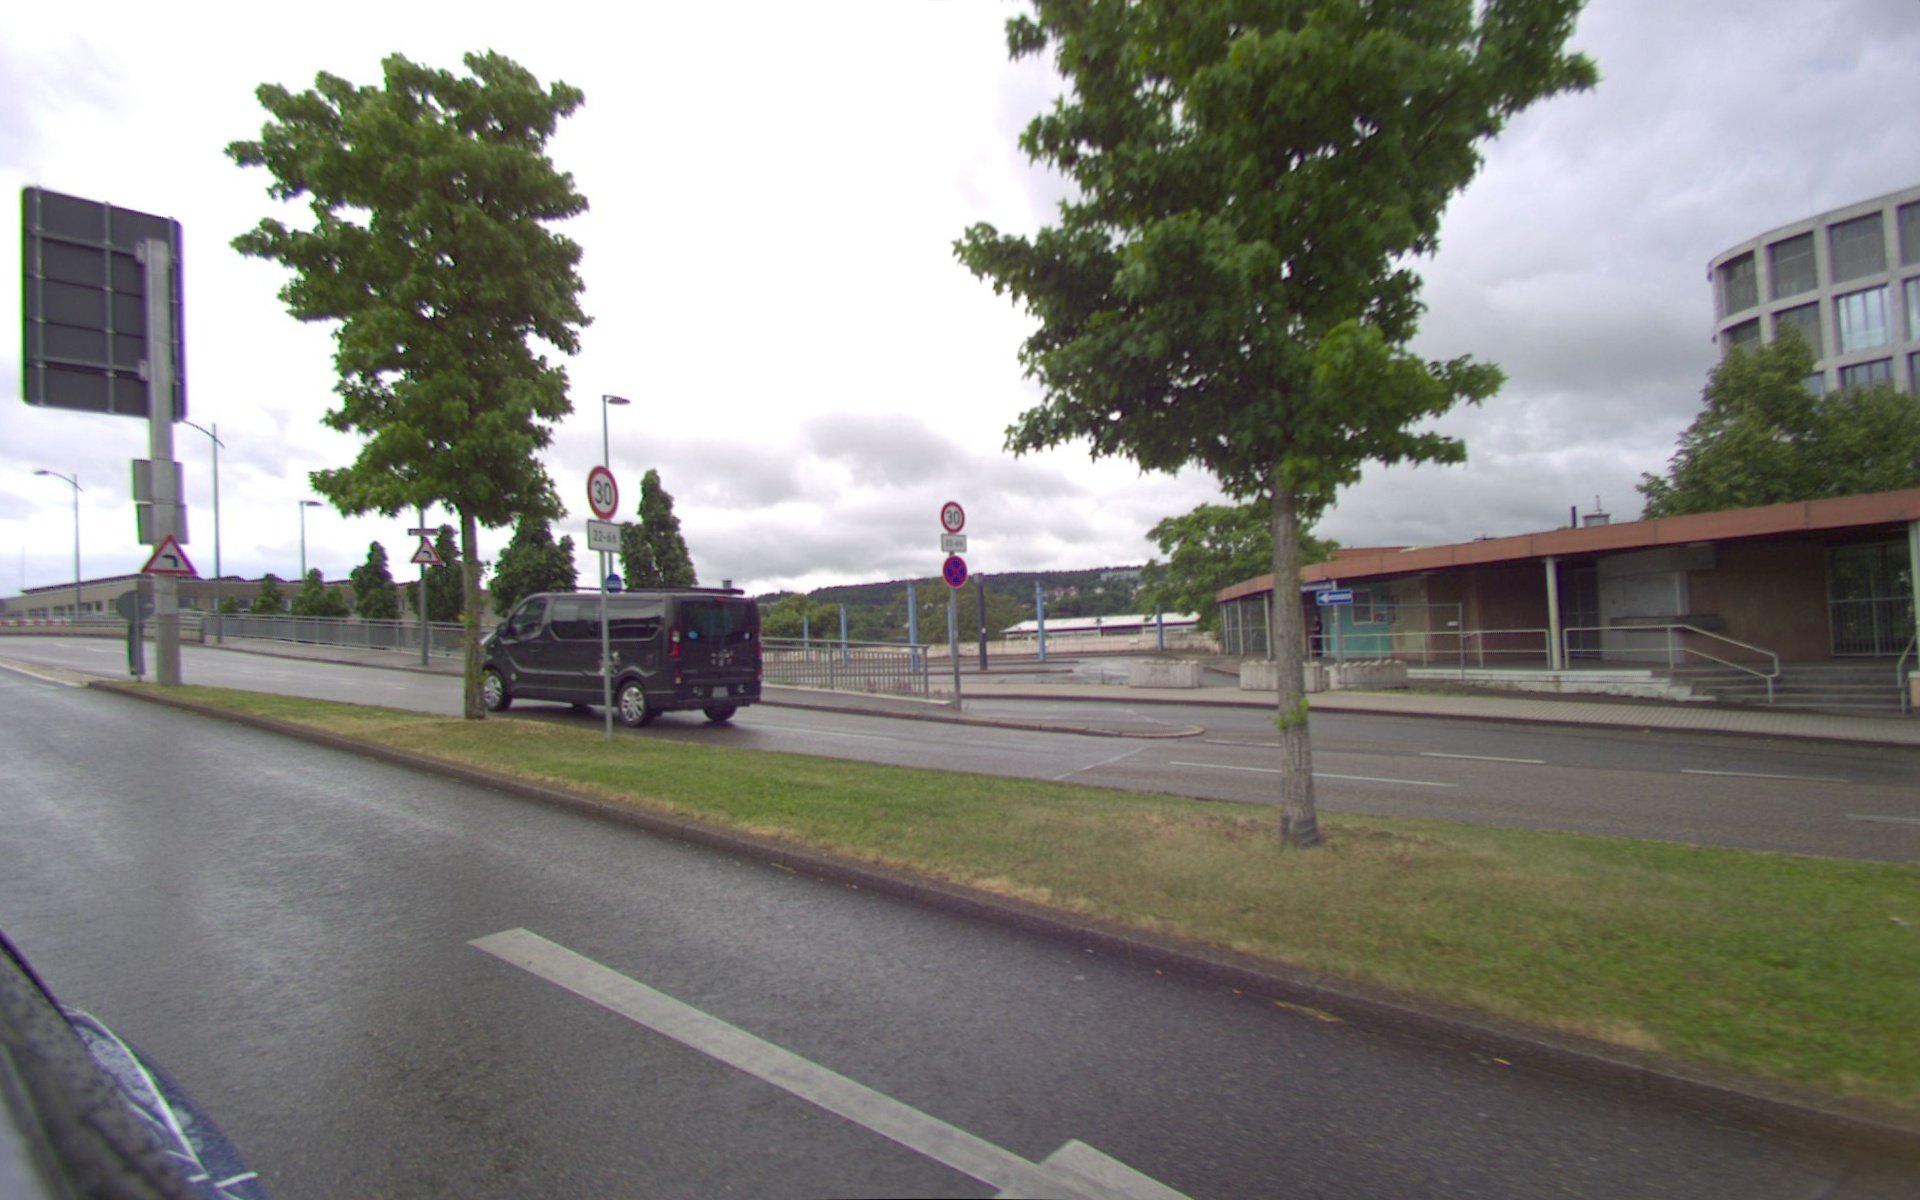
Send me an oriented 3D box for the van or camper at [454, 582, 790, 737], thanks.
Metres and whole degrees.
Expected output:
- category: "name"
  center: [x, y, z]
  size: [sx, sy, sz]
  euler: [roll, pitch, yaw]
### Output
- category: "van or camper"
  center: [-5.443, 0.854, 16.060]
  size: [5.267, 2.088, 2.199]
  euler: [0, -3, 33]
